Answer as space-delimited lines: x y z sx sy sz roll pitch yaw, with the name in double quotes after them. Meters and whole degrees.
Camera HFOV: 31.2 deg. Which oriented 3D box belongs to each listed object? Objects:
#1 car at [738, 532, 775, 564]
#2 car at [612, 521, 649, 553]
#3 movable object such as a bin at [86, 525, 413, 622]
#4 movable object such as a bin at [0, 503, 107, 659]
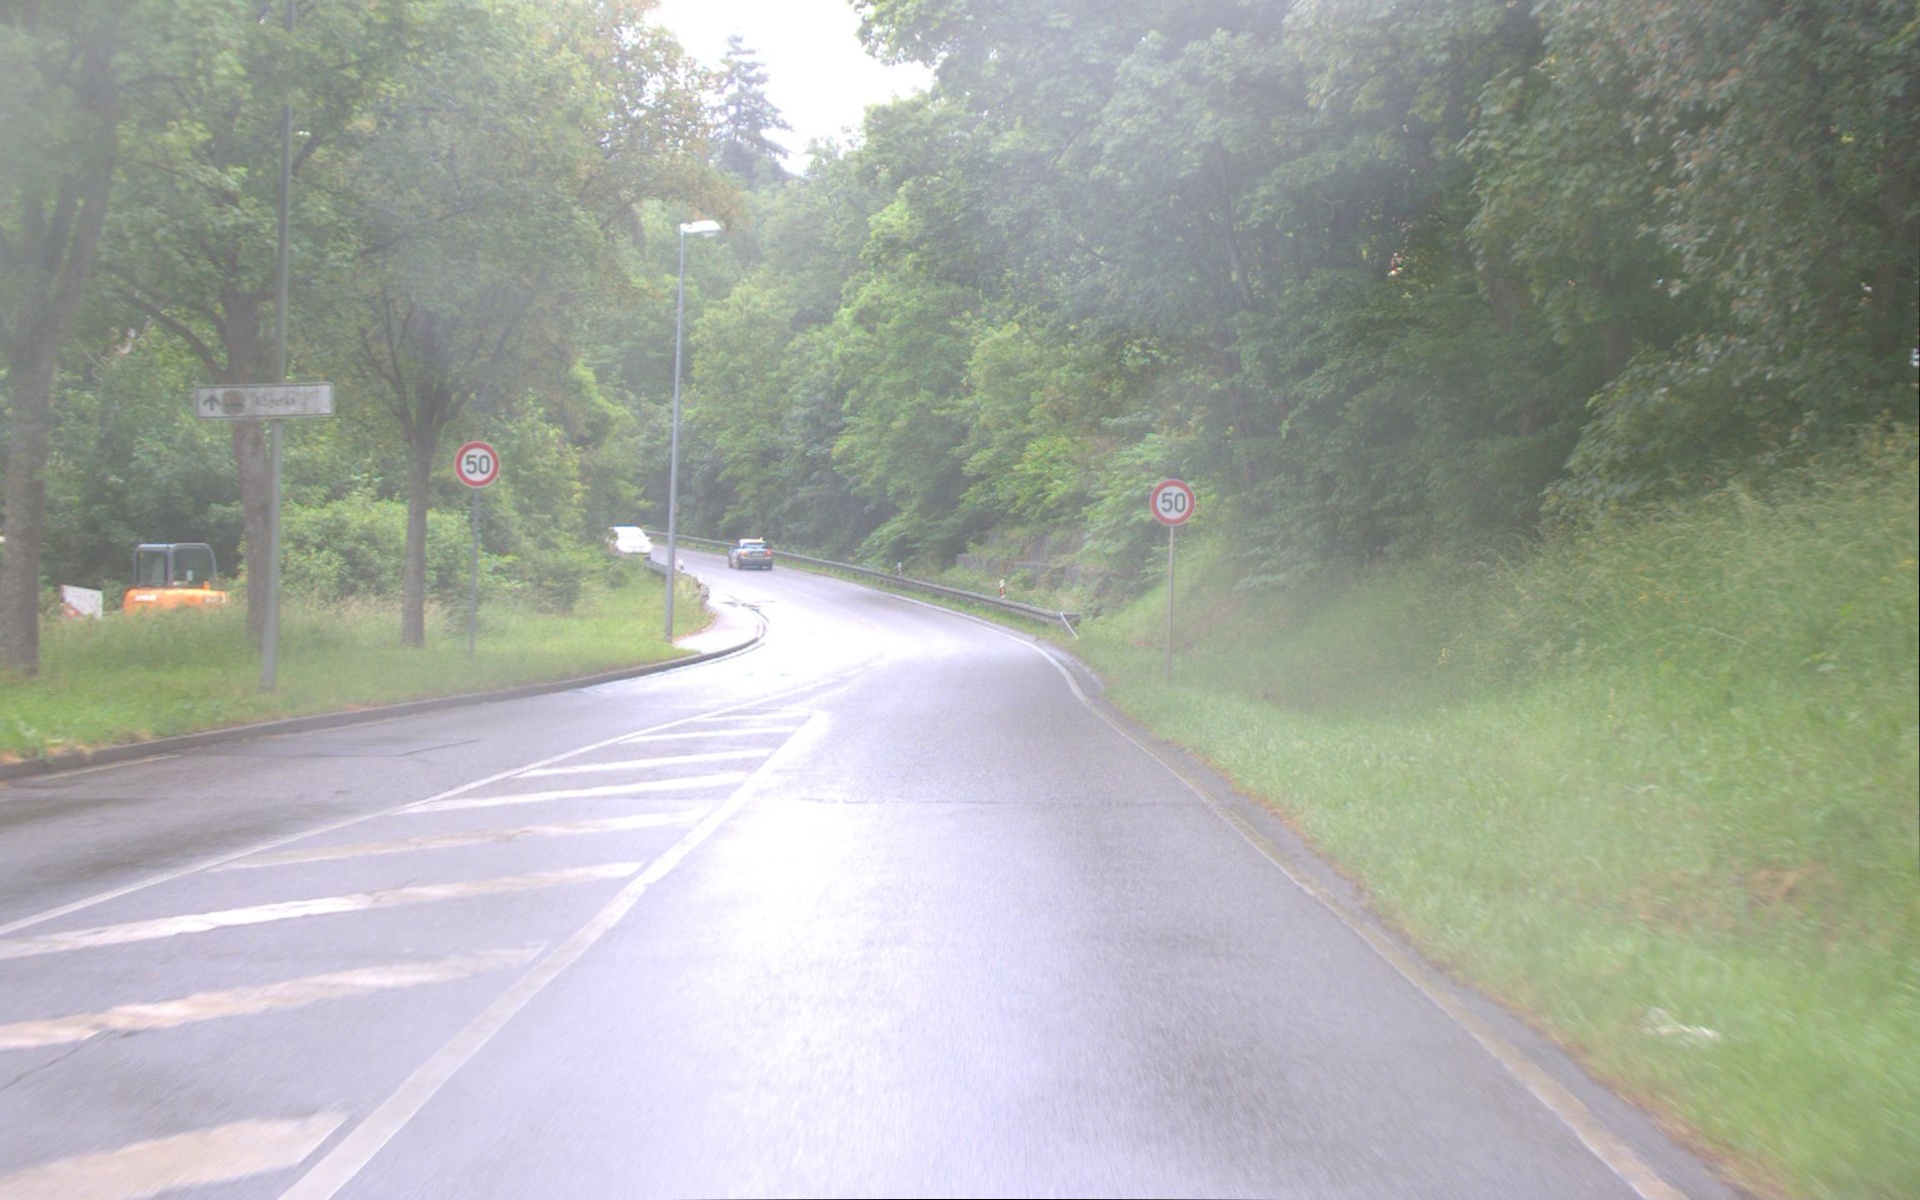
-10.096 -2.583 170.687 1.736 1.505 4.001 -1 1 -2 "car"
-17.388 -3.329 181.496 1.814 1.642 4.132 0 1 -4 "car"
-14.711 -0.552 71.837 1.849 1.901 7.894 1 1 31 "movable object such as a bin"
-18.055 -0.382 64.979 1.995 2.851 3.997 2 0 15 "movable object such as a bin"
